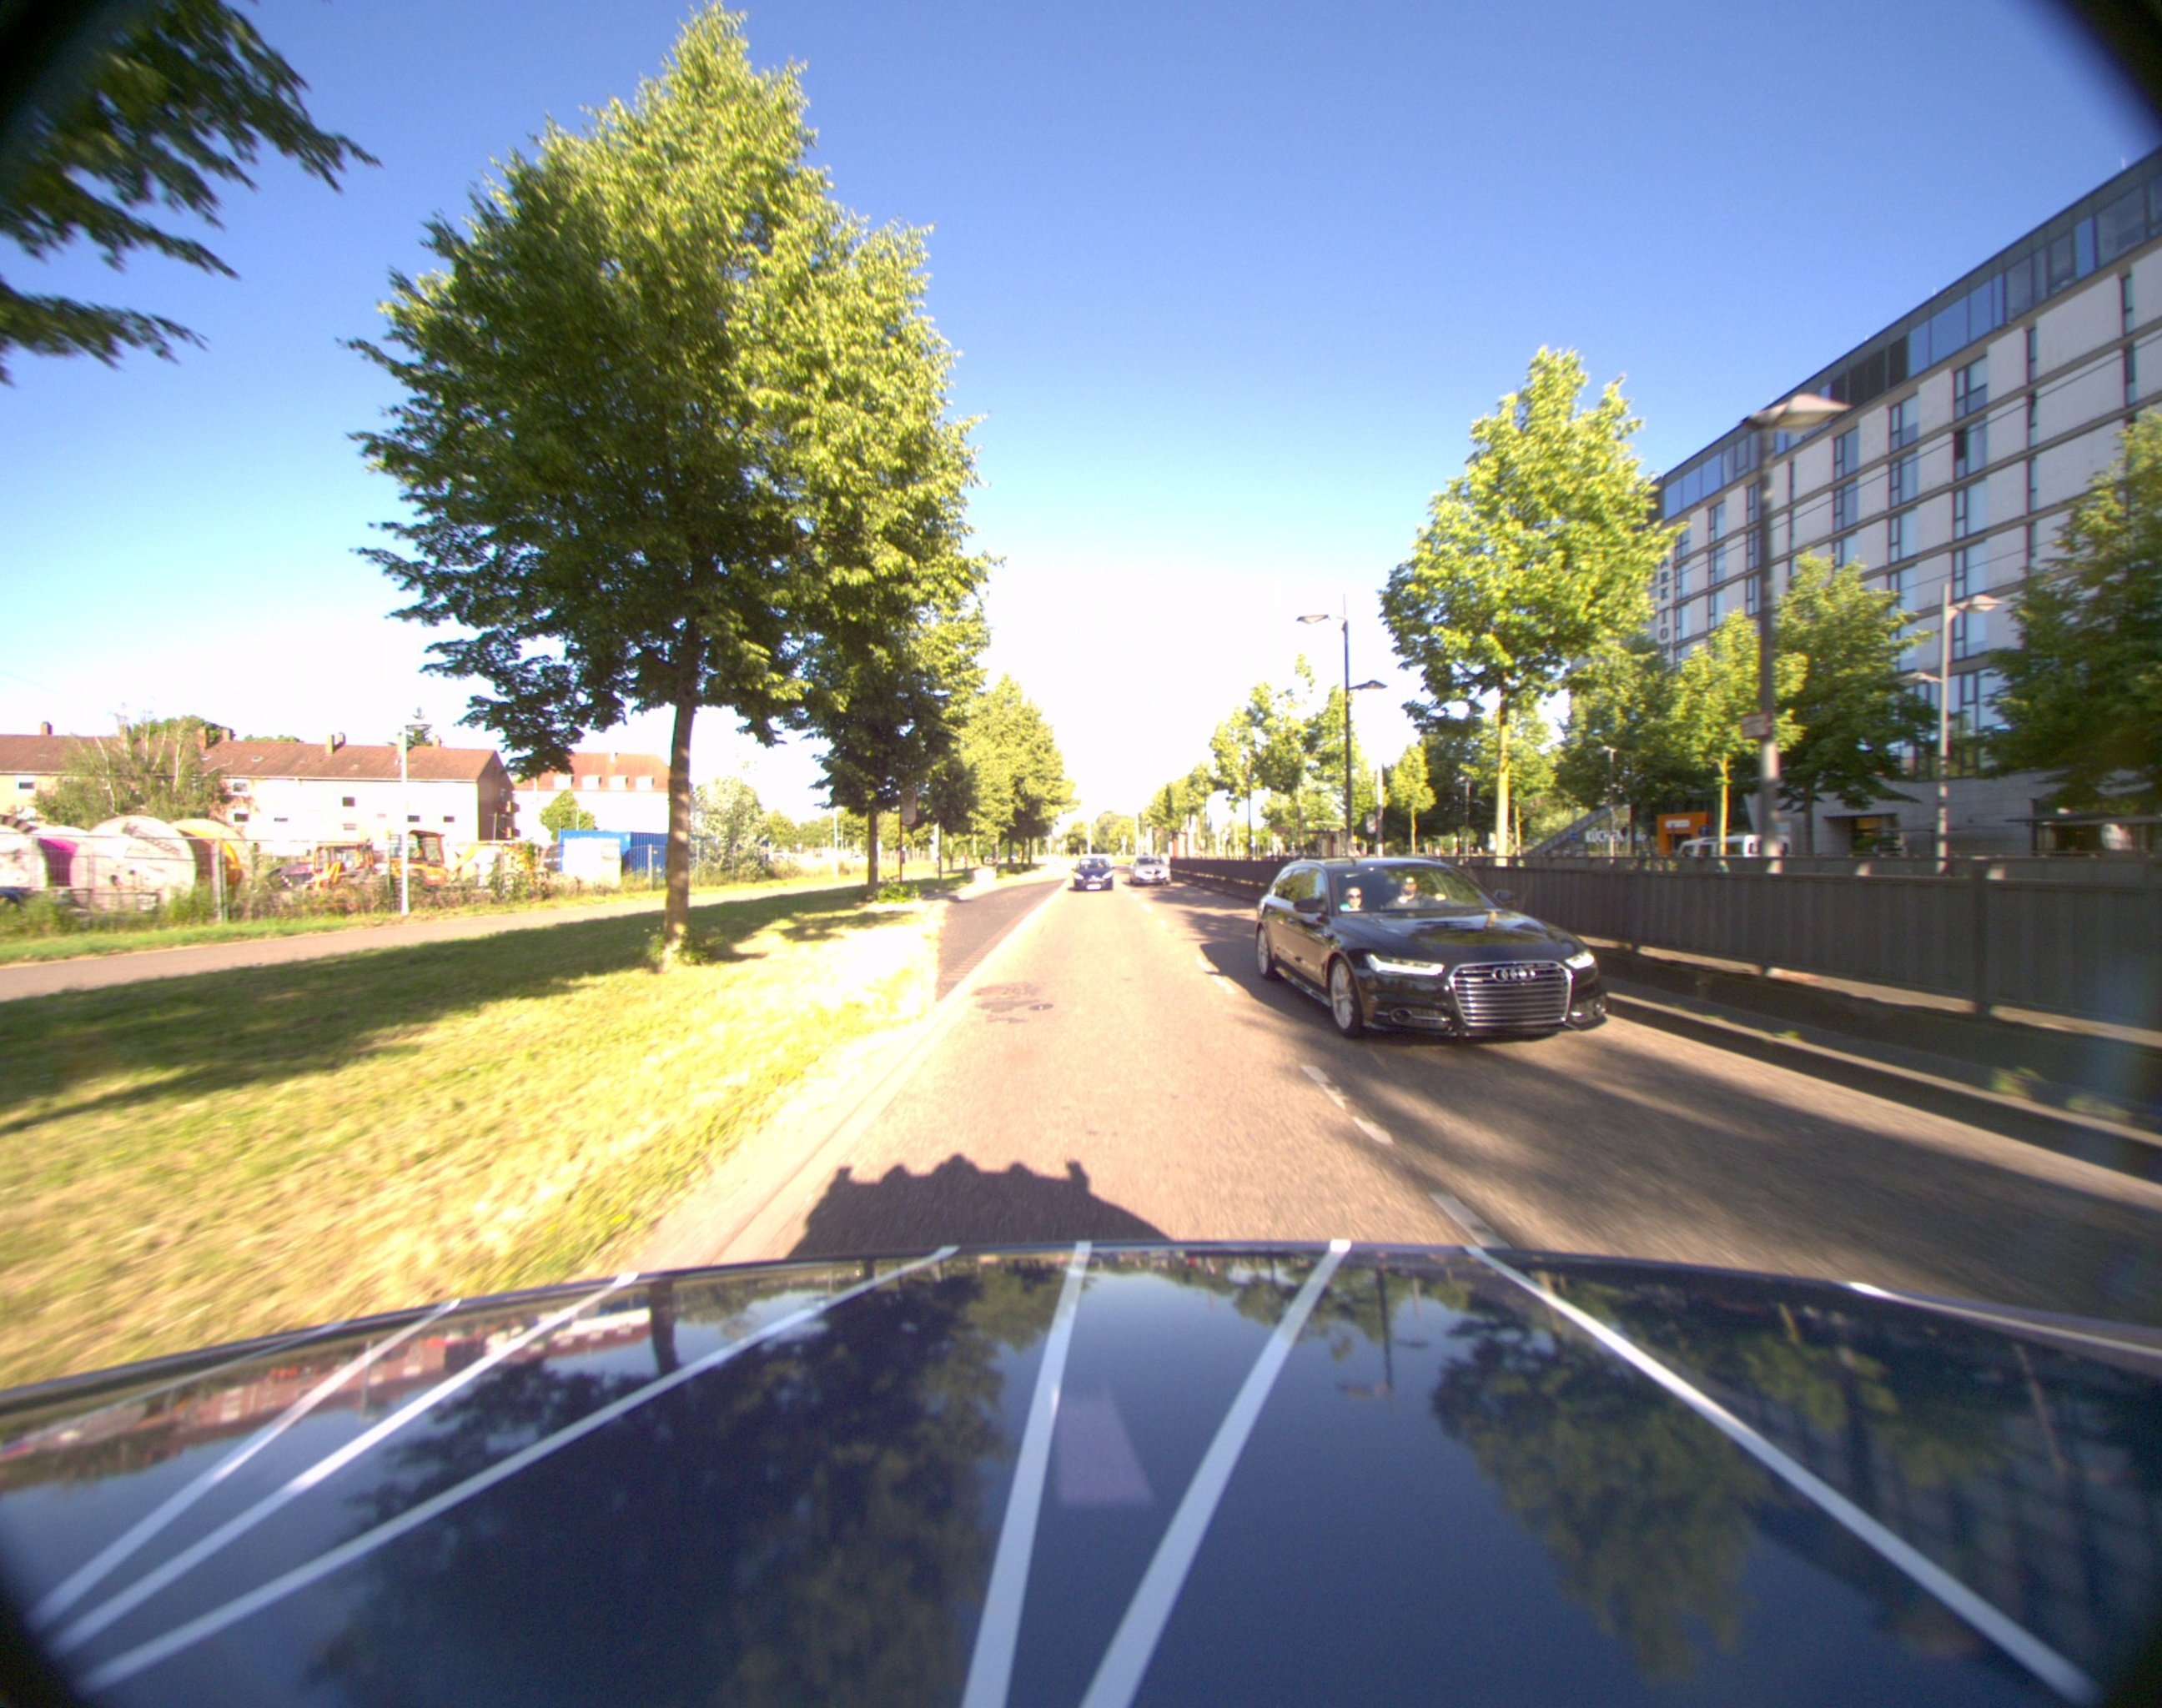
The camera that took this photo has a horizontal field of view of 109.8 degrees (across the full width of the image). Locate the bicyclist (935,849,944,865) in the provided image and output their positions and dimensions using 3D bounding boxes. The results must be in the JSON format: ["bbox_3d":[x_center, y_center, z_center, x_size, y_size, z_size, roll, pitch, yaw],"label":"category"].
[{"bbox_3d":[-13.370,0.285,71.651,0.654,1.544,0.794,-1,1,2],"label":"bicyclist"}]

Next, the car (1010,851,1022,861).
[{"bbox_3d":[-10.868,0.289,127.722,1.701,1.555,3.676,0,0,1],"label":"car"}]

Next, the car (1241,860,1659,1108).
[{"bbox_3d":[2.934,0.884,7.337,1.789,1.518,4.600,-2,1,0],"label":"car"}]

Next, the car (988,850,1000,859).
[{"bbox_3d":[-15.260,0.052,133.982,1.683,1.630,3.247,0,0,1],"label":"car"}]

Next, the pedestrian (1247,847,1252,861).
[{"bbox_3d":[18.576,0.012,83.818,0.418,1.569,0.811,-1,2,-2],"label":"pedestrian"}]

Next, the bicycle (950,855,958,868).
[{"bbox_3d":[-11.912,0.716,71.302,0.507,1.145,1.605,0,1,0],"label":"bicycle"}]

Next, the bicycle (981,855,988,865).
[{"bbox_3d":[-10.633,0.636,83.921,0.479,1.076,1.644,-1,2,3],"label":"bicycle"}]

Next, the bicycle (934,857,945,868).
[{"bbox_3d":[-13.361,0.785,71.663,0.657,1.006,1.820,0,0,1],"label":"bicycle"}]

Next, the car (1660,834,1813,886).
[{"bbox_3d":[23.700,0.195,27.725,1.998,1.740,4.227,0,0,1],"label":"car"}]

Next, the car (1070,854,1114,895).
[{"bbox_3d":[0.495,0.838,33.077,1.763,1.507,3.947,-1,2,1],"label":"car"}]

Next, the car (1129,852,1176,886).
[{"bbox_3d":[3.534,0.705,38.418,1.849,1.560,4.527,0,0,-1],"label":"car"}]

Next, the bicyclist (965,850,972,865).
[{"bbox_3d":[-12.380,0.400,83.463,0.592,1.578,0.965,-1,2,2],"label":"bicyclist"}]

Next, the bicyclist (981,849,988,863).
[{"bbox_3d":[-10.647,0.214,83.861,0.471,1.478,0.915,-1,2,3],"label":"bicyclist"}]

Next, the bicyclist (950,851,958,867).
[{"bbox_3d":[-11.919,0.481,71.276,0.504,1.464,0.833,-1,1,1],"label":"bicyclist"}]

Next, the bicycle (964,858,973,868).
[{"bbox_3d":[-12.370,0.991,83.494,0.592,0.955,1.900,-1,2,2],"label":"bicycle"}]

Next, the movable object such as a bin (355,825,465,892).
[{"bbox_3d":[-21.311,0.111,24.208,1.799,2.002,1.789,-1,2,2],"label":"movable object such as a bin"}]
